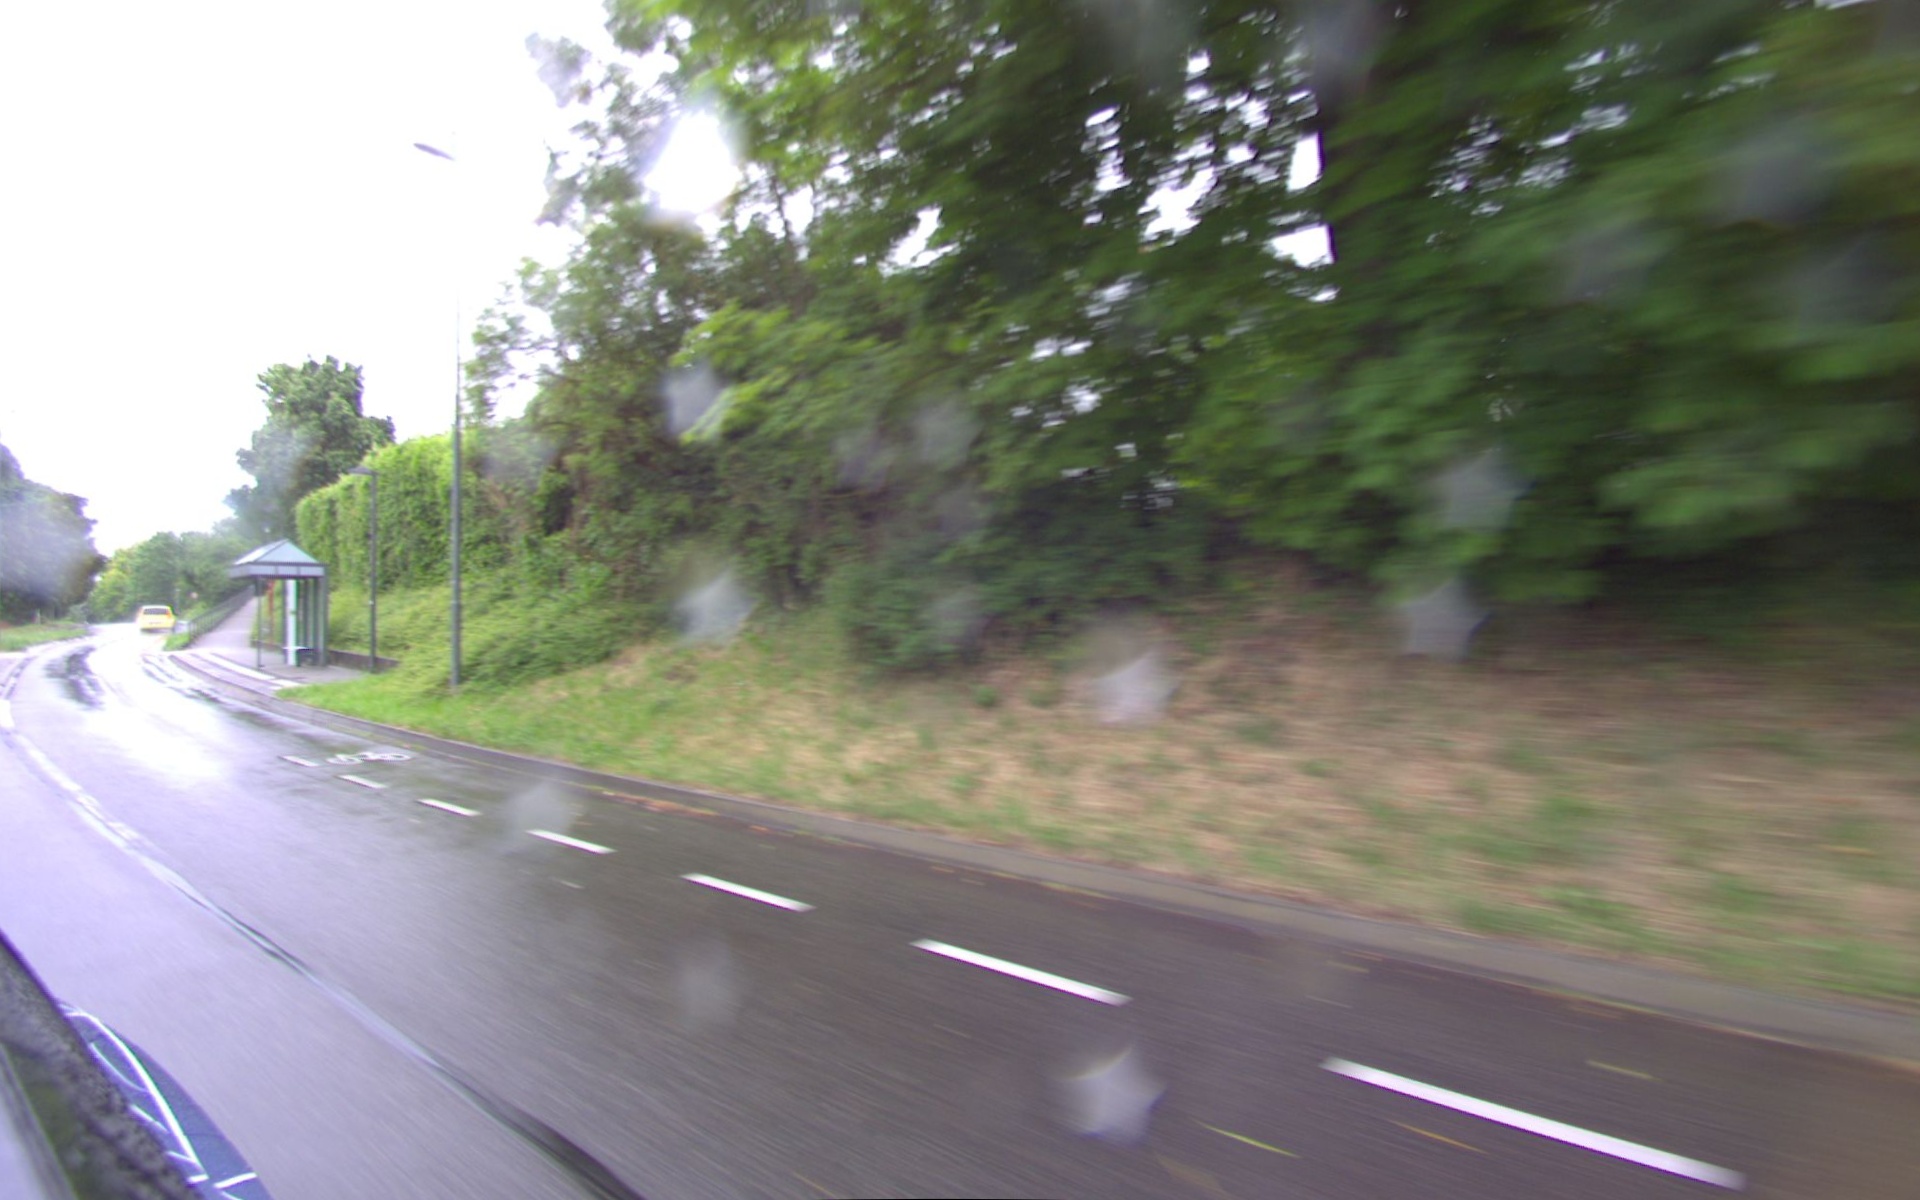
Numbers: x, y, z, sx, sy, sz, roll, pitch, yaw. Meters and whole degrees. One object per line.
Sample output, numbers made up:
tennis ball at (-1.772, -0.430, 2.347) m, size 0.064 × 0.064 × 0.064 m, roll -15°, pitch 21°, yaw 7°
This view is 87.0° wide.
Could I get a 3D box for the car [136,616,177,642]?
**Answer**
car at (-45.689, 1.629, 57.609) m, size 1.551 × 1.421 × 3.483 m, roll 2°, pitch -2°, yaw -34°
